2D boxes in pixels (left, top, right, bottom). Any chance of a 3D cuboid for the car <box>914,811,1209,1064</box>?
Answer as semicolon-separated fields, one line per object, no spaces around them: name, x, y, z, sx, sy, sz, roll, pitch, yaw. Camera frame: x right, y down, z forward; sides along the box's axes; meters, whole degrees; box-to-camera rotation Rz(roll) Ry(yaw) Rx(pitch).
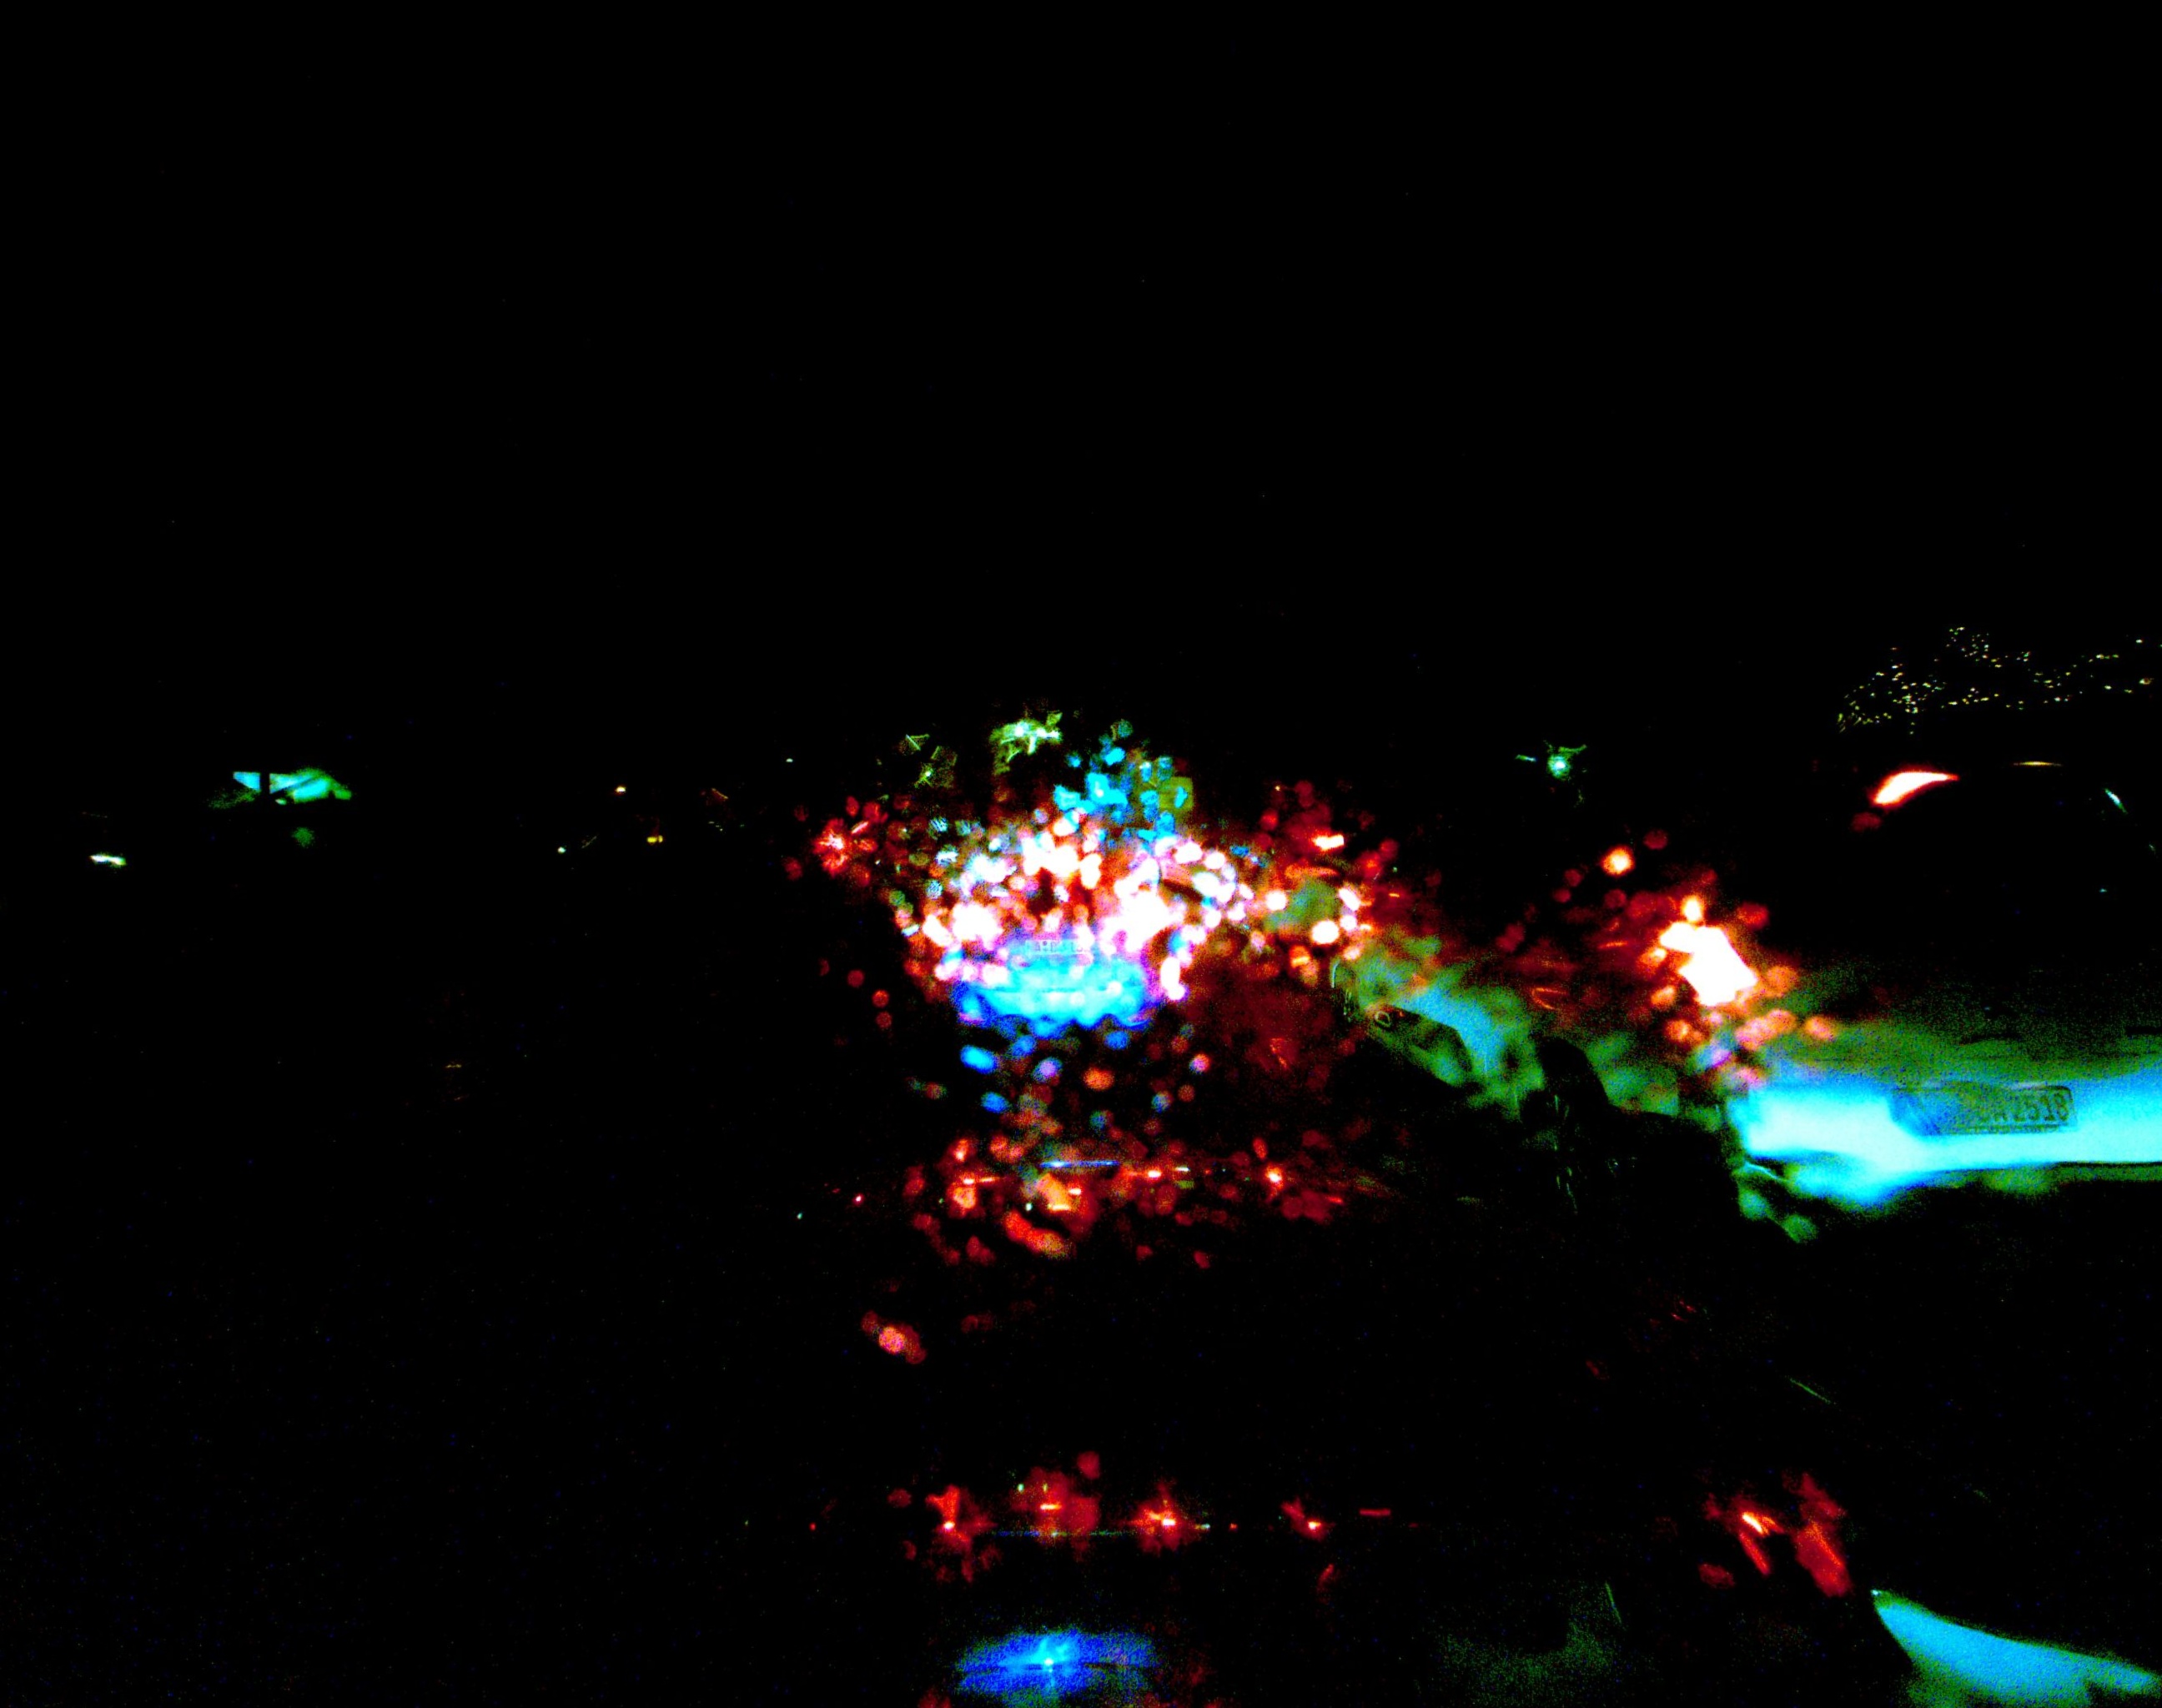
car;-0.084;0.591;7.795;2.007;1.717;4.452;0;-1;1

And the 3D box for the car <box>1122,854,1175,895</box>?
car;3.053;0.922;37.537;1.988;1.773;3.997;0;-1;-2

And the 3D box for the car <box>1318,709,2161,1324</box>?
car;2.849;0.510;4.655;1.845;1.865;4.342;0;-1;2

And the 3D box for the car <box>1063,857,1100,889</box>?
car;0.011;1.110;48.247;1.989;1.824;3.995;0;-1;-3

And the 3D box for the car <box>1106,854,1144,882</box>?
car;2.516;0.786;47.428;1.853;1.544;3.927;0;-1;-2

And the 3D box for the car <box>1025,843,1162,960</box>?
car;0.243;0.709;13.865;1.986;1.684;4.001;0;-1;2

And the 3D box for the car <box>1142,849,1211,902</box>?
car;3.152;0.694;27.628;1.986;1.670;4.001;0;-1;2

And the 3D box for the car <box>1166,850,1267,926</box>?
car;3.287;0.794;20.494;1.986;1.718;4.001;0;-1;2

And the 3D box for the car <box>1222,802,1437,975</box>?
car;3.304;0.431;11.697;1.961;2.047;4.001;0;-1;2

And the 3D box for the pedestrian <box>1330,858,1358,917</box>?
pedestrian;7.592;0.961;23.541;0.621;1.701;0.541;0;-1;-1

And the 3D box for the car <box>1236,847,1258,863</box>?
car;19.133;0.133;93.895;1.857;1.646;3.965;-3;-1;2
